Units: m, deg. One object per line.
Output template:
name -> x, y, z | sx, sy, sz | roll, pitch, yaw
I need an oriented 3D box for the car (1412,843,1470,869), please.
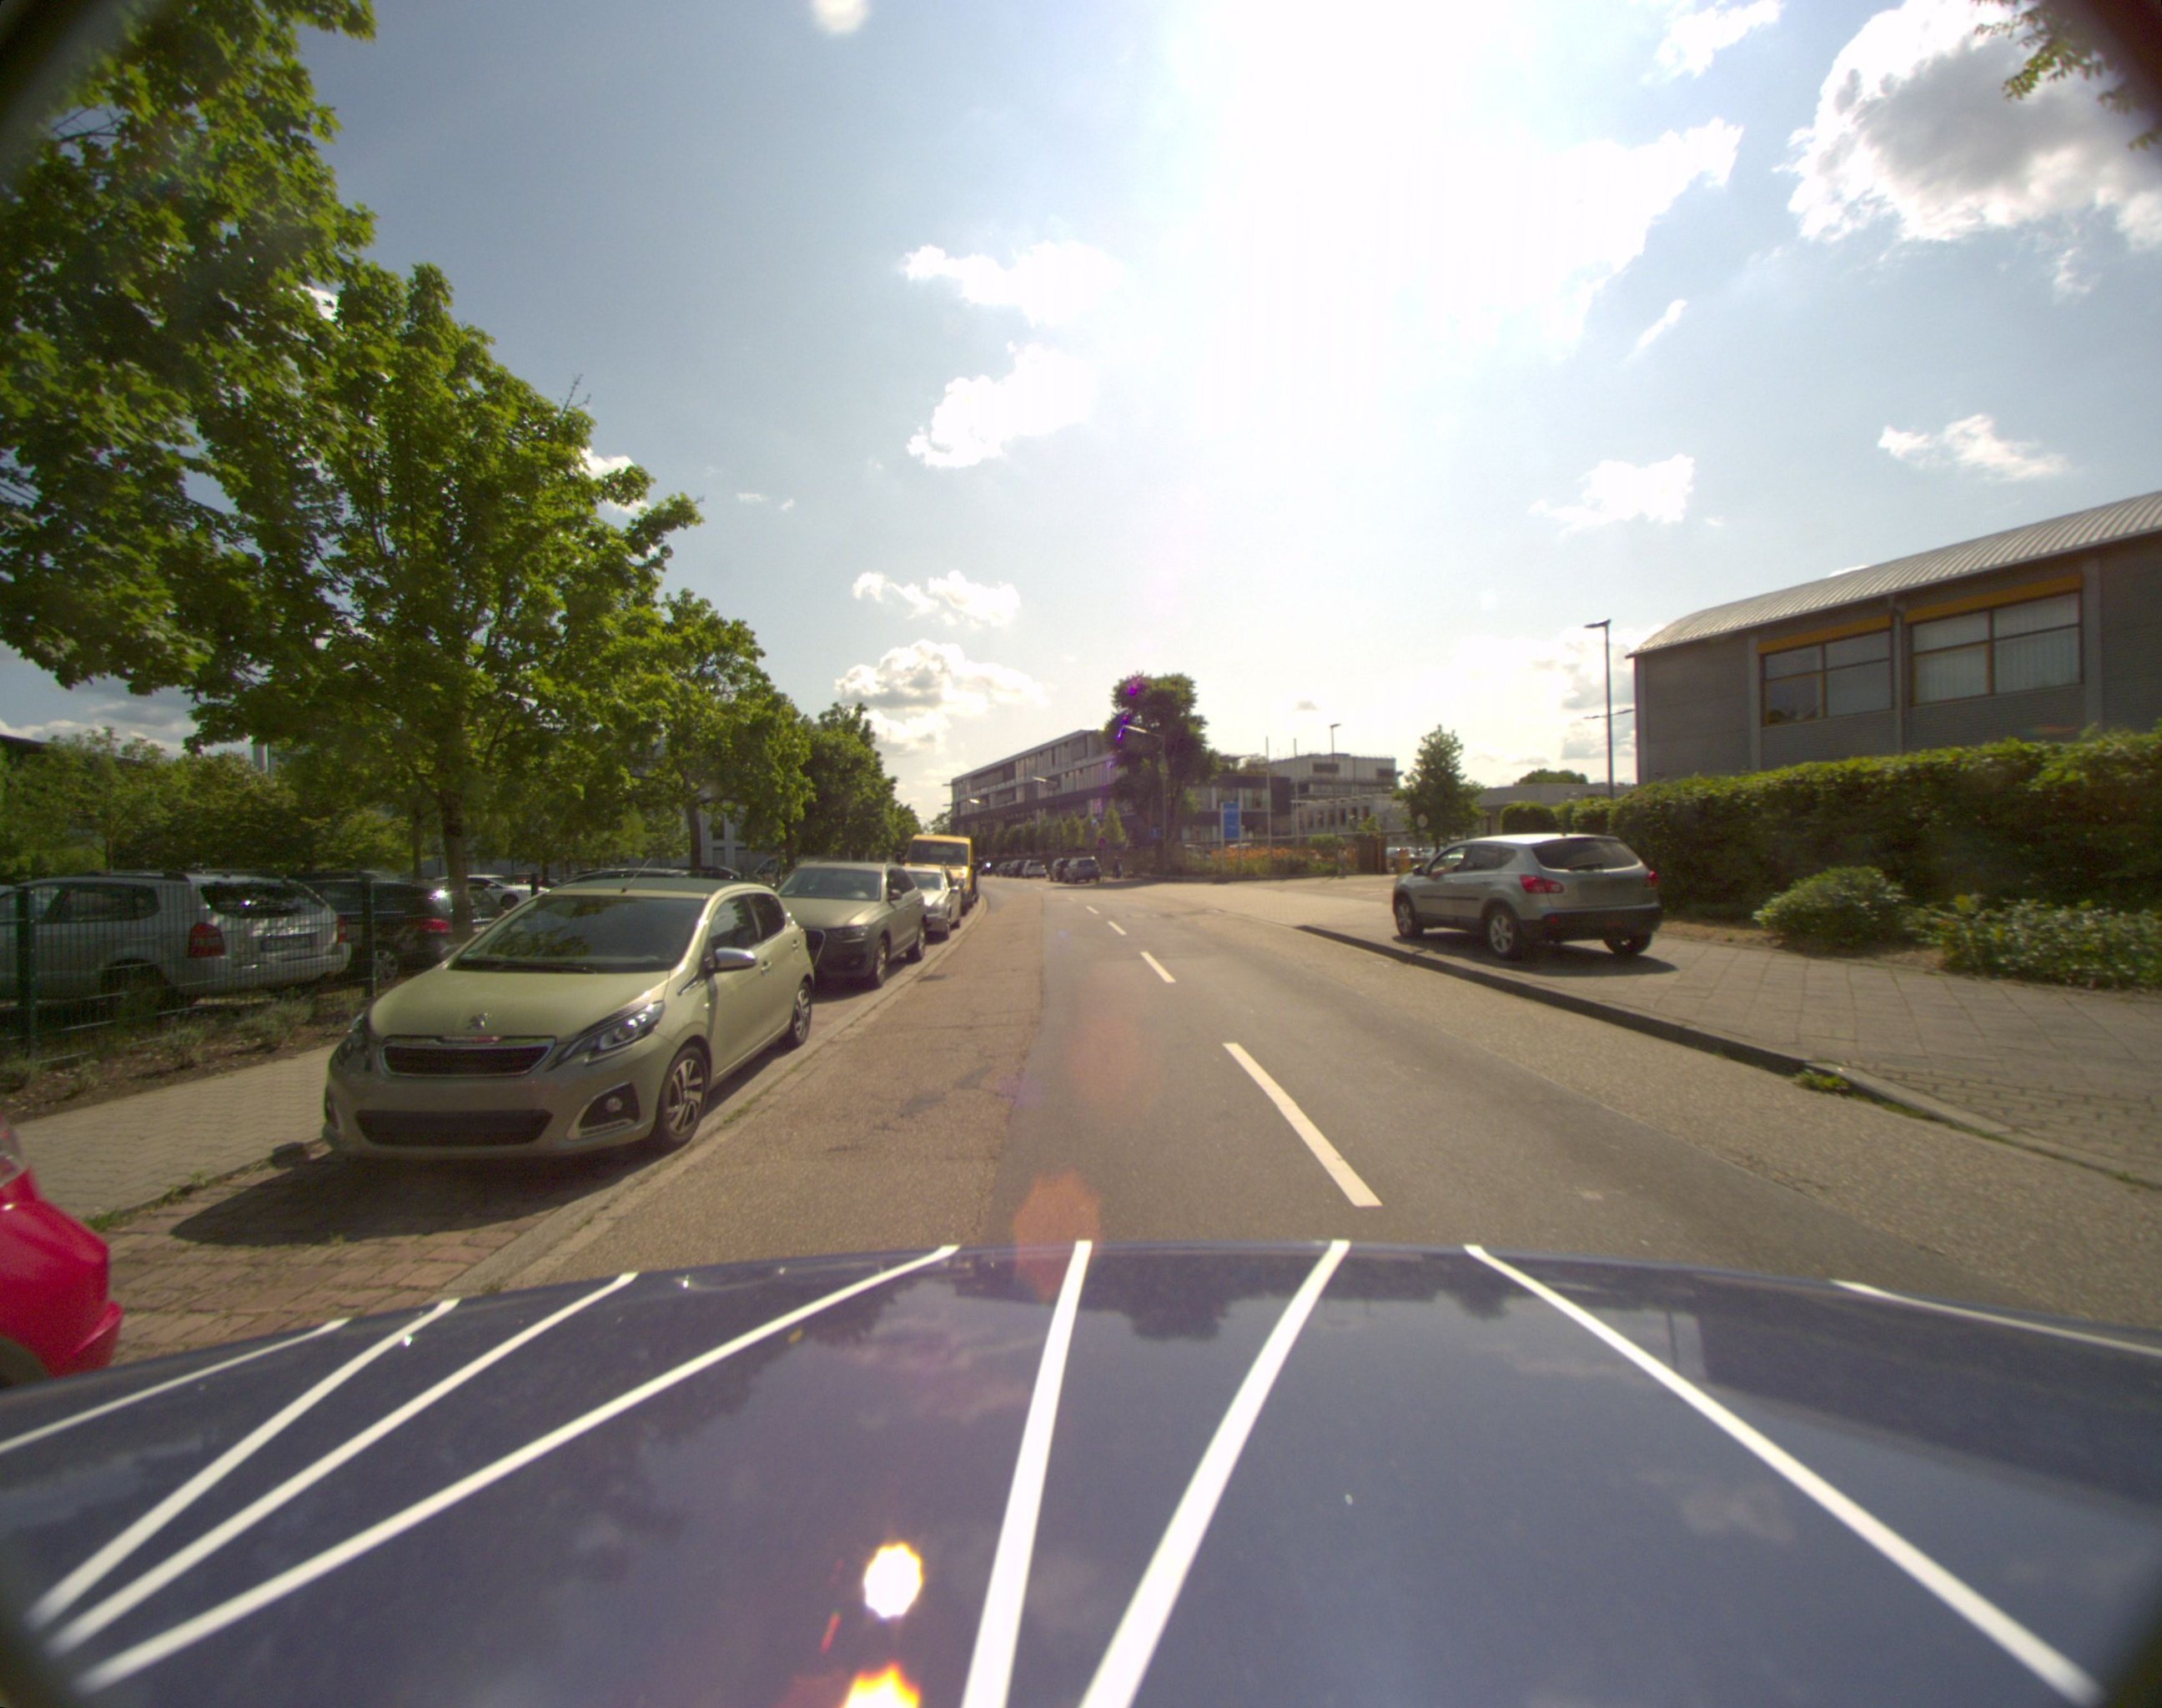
car -> 27.414, 0.159, 57.877 | 4.078, 1.716, 1.756 | -3, 1, -26

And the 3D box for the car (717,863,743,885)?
car -> -29.784, 1.687, 64.480 | 1.830, 1.638, 3.329 | -3, 0, -26

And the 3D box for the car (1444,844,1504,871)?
car -> 28.844, 0.257, 55.747 | 4.078, 1.716, 1.756 | -3, 1, -26

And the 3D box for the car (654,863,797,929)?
car -> -13.302, 1.558, 28.709 | 4.342, 1.660, 1.855 | 11, -2, -11

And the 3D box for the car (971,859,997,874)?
car -> -10.971, 1.411, 85.831 | 1.669, 1.521, 3.992 | -3, 0, -25

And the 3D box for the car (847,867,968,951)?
car -> -3.655, 1.092, 16.919 | 1.881, 1.468, 5.165 | 1, 0, -5

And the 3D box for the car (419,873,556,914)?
car -> -24.348, 1.603, 31.290 | 4.171, 1.428, 1.729 | -2, 0, -3

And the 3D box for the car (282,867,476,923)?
car -> -23.486, 1.327, 25.594 | 4.494, 1.631, 1.837 | -2, 0, -9

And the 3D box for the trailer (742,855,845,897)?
trailer -> -15.794, 1.181, 42.061 | 5.065, 2.070, 2.059 | -2, 0, -13

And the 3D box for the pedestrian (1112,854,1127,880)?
pedestrian -> 2.624, 0.870, 52.063 | 0.831, 1.751, 0.845 | -3, 1, -8

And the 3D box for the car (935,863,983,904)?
car -> -4.833, 1.133, 30.553 | 1.690, 1.486, 3.946 | 0, 0, -6

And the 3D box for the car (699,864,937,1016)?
car -> -3.385, 1.005, 10.824 | 1.837, 1.598, 4.568 | 2, 0, -1

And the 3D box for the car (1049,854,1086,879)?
car -> -1.067, 0.925, 56.959 | 1.782, 1.672, 4.225 | -3, 0, -14

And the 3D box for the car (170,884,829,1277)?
car -> -3.066, 1.041, 5.117 | 1.704, 1.477, 3.805 | 2, 0, -5

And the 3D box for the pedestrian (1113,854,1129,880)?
pedestrian -> 2.666, 0.873, 50.931 | 0.845, 1.682, 0.830 | -3, 1, -7

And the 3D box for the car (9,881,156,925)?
car -> -48.802, 2.361, 37.221 | 4.000, 1.760, 1.998 | -3, 1, -9

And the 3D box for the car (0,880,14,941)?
car -> -29.476, 1.513, 18.245 | 4.281, 1.548, 1.998 | -2, 1, -9

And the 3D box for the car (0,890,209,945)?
car -> -30.088, 1.908, 23.507 | 3.762, 1.404, 1.752 | -3, -2, -11

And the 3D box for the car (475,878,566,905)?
car -> -33.583, 2.228, 45.641 | 4.001, 1.366, 1.717 | -2, 0, -11

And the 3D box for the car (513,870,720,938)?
car -> -12.187, 1.273, 20.209 | 4.332, 1.612, 1.762 | 0, 0, -11

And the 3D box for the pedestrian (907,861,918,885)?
pedestrian -> -12.055, 1.342, 54.296 | 0.724, 1.683, 0.738 | 2, -1, -16

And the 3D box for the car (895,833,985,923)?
car -> -4.300, 0.655, 24.263 | 2.163, 2.450, 6.636 | 0, 0, -5

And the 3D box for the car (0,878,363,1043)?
car -> -11.278, 1.166, 8.911 | 3.884, 1.628, 1.910 | -1, 1, 1

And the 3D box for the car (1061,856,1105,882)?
car -> 0.086, 0.984, 51.651 | 1.805, 1.641, 4.684 | -3, 0, -14

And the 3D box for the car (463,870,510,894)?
car -> -44.591, 2.075, 57.079 | 1.959, 1.539, 3.991 | -3, 2, -26

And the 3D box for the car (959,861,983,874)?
car -> -13.167, 1.565, 90.746 | 1.669, 1.389, 4.097 | -3, 1, -25

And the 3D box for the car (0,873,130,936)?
car -> -29.631, 1.413, 20.760 | 4.281, 1.548, 1.998 | -2, 1, -9

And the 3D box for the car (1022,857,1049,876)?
car -> -4.025, 1.090, 67.024 | 1.615, 1.514, 3.070 | -2, 0, -17

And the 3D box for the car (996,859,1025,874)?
car -> -7.102, 1.244, 76.322 | 1.741, 1.437, 3.924 | -3, 0, -21

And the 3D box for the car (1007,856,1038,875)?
car -> -5.528, 1.092, 71.538 | 1.740, 1.646, 4.304 | -2, 0, -19

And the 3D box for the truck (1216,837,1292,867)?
truck -> 16.491, -0.224, 72.388 | 6.943, 2.642, 2.400 | -2, 0, -25

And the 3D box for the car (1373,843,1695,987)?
car -> 6.019, 0.684, 10.873 | 1.762, 1.565, 4.476 | -2, 0, -2

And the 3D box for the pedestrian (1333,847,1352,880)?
pedestrian -> 14.003, 0.499, 40.692 | 0.550, 1.682, 0.732 | -2, 4, -24

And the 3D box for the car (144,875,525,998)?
car -> -11.103, 1.174, 11.534 | 3.884, 1.584, 1.910 | -1, 1, 1

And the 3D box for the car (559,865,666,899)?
car -> -27.021, 1.588, 44.026 | 4.867, 1.756, 1.913 | -1, 1, -12
